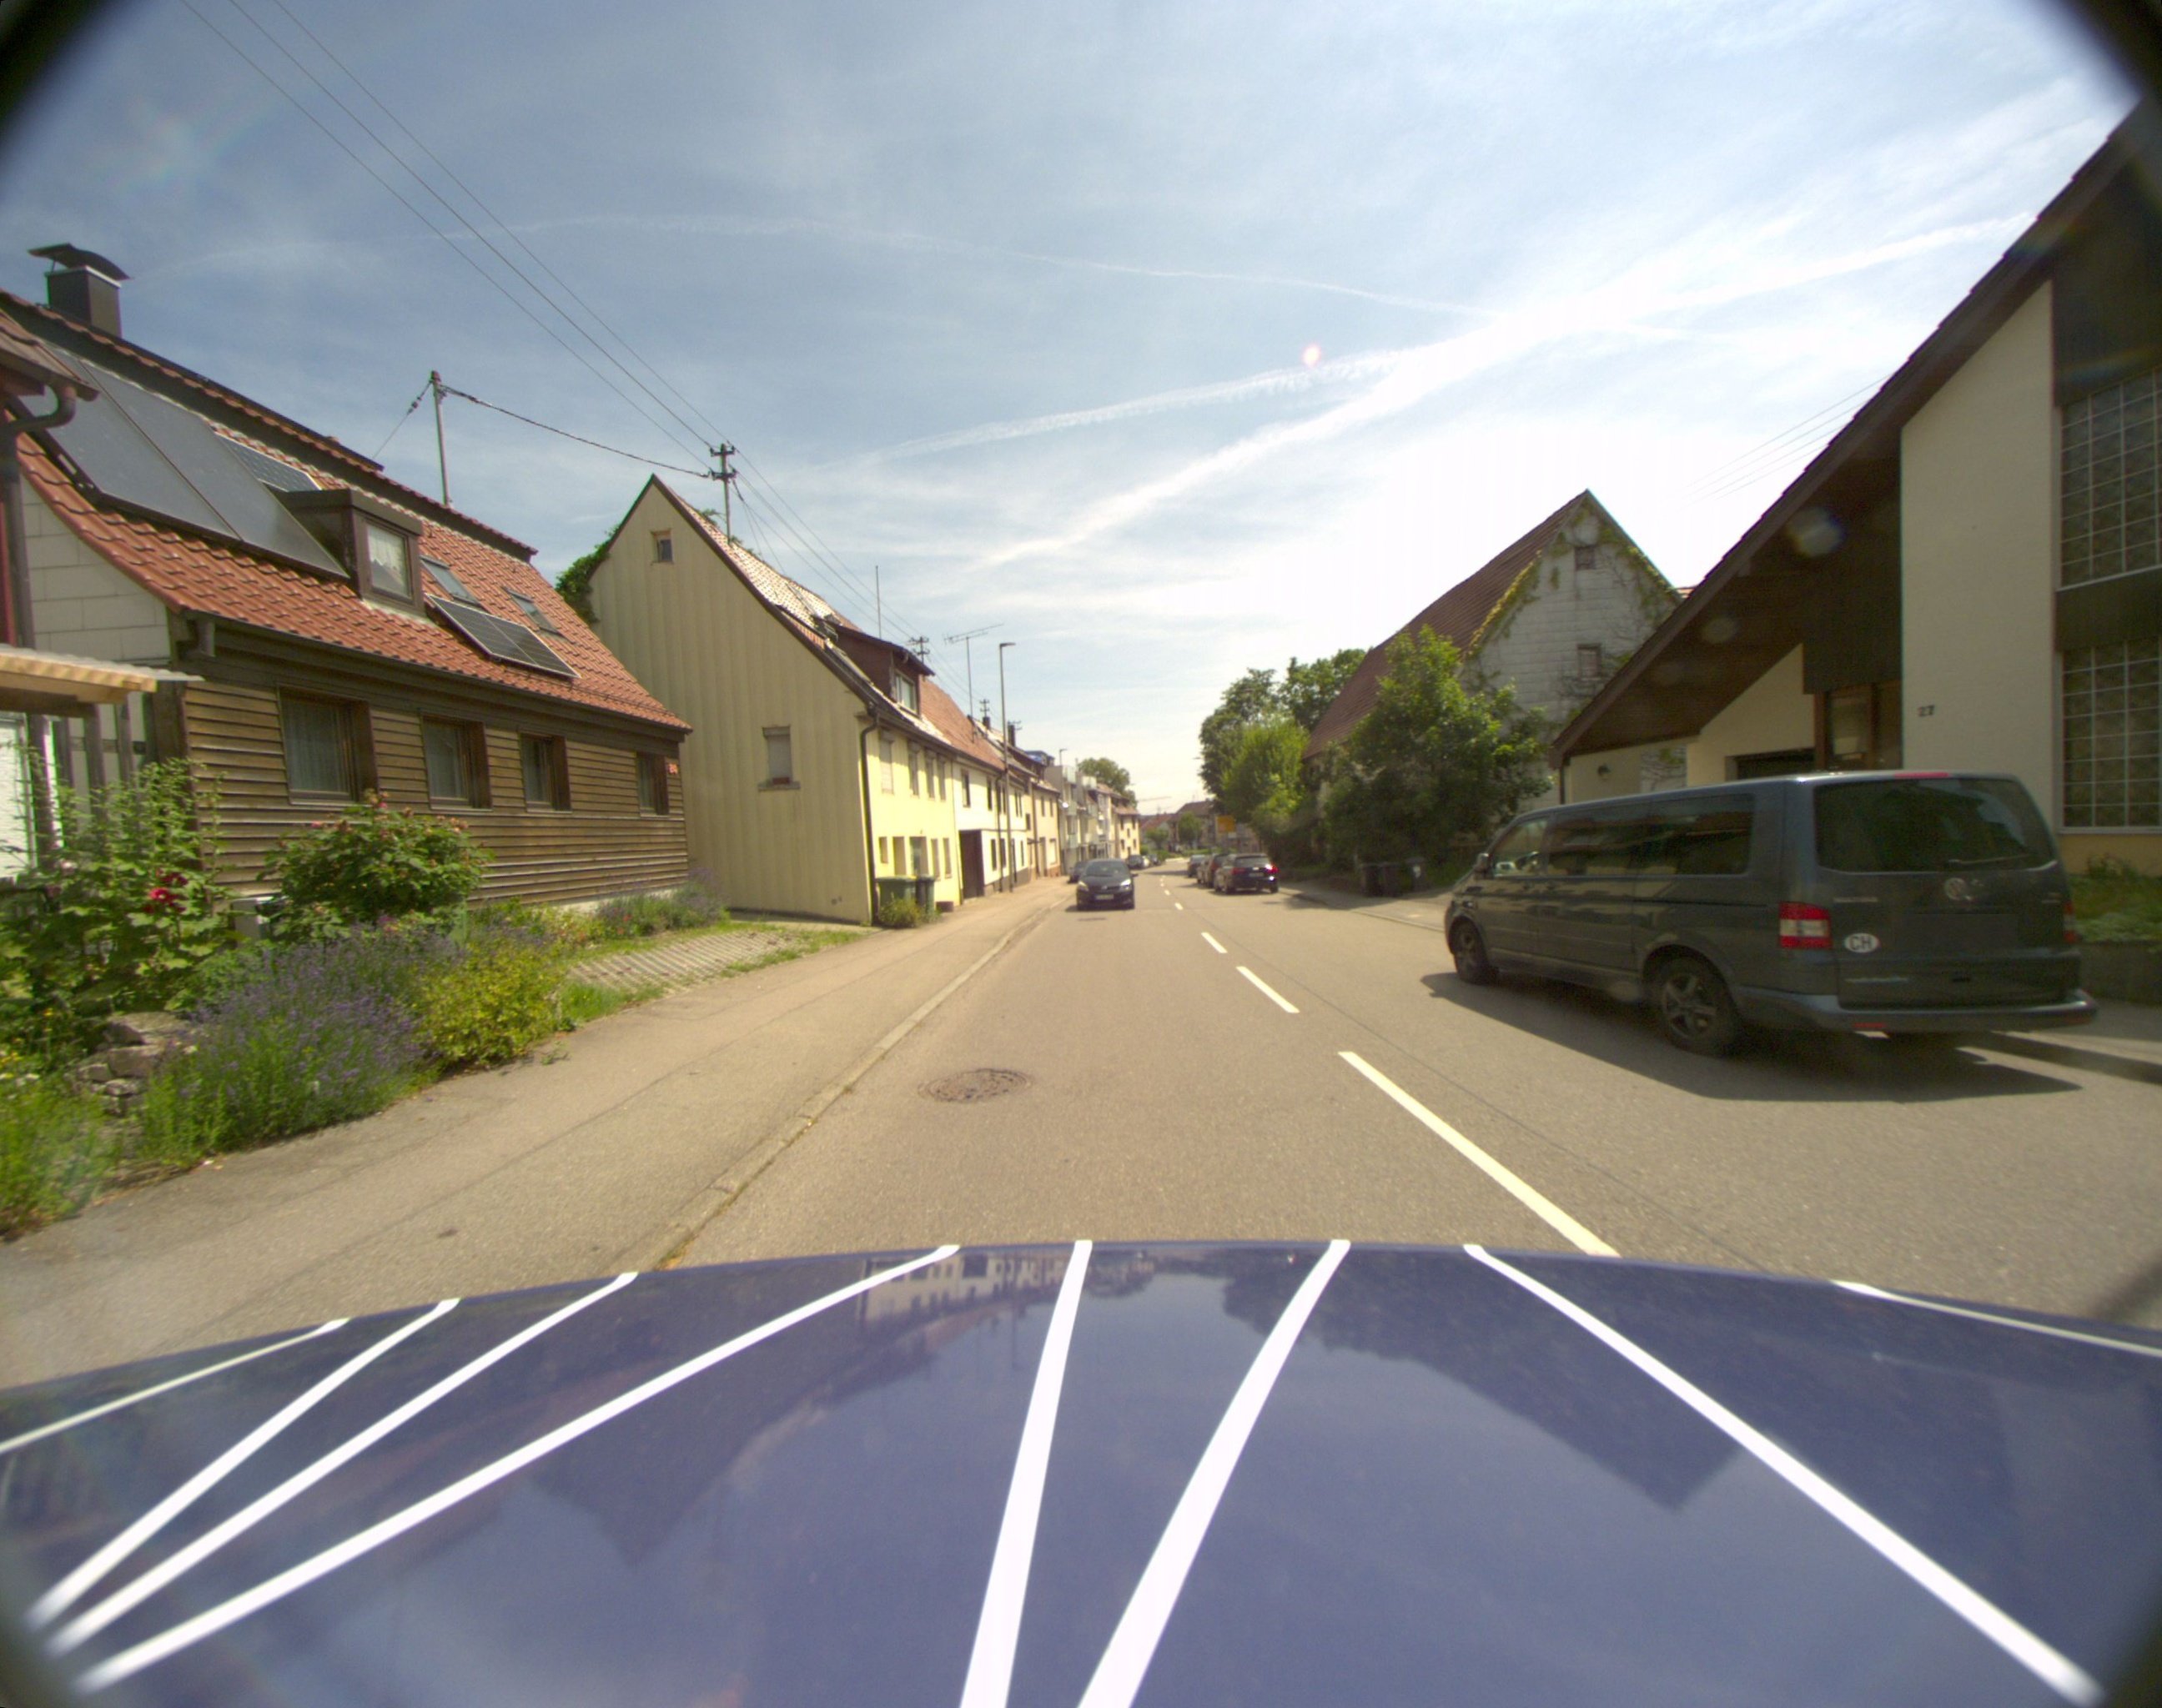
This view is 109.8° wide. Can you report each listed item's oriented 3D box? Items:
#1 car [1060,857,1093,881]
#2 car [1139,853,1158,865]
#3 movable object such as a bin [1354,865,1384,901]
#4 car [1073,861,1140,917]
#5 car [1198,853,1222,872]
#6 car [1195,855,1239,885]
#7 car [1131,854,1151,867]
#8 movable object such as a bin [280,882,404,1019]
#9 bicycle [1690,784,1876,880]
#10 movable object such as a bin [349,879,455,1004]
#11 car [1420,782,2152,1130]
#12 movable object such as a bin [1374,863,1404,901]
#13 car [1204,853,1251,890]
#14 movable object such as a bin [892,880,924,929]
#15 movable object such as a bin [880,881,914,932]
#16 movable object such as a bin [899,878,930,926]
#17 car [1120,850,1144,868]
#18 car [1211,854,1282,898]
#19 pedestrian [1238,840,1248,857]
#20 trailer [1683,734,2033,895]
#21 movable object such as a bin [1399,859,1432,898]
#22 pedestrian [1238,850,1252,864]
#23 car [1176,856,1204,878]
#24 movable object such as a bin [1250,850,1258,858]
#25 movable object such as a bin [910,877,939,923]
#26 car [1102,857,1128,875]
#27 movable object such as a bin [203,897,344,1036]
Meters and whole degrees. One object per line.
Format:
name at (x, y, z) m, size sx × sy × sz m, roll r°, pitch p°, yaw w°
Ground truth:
car at (-0.240, 0.890, 47.321) m, size 1.669 × 1.344 × 4.188 m, roll -3°, pitch 0°, yaw 4°
car at (8.565, 0.617, 96.684) m, size 1.791 × 1.412 × 4.362 m, roll -2°, pitch 0°, yaw 13°
movable object such as a bin at (7.941, 0.798, 20.996) m, size 0.502 × 0.897 × 0.585 m, roll -7°, pitch 1°, yaw -2°
car at (0.858, 0.973, 22.937) m, size 1.724 × 1.448 × 4.431 m, roll -1°, pitch 0°, yaw 5°
car at (11.086, 0.679, 65.220) m, size 1.775 × 1.518 × 4.225 m, roll -1°, pitch 0°, yaw 13°
car at (7.091, 0.794, 39.976) m, size 1.792 × 1.455 × 4.713 m, roll -2°, pitch 0°, yaw 4°
car at (7.168, 0.766, 90.216) m, size 1.792 × 1.447 × 4.720 m, roll -2°, pitch 0°, yaw 10°
movable object such as a bin at (-6.750, 0.862, 6.961) m, size 0.536 × 1.151 × 0.549 m, roll 4°, pitch 1°, yaw -2°
bicycle at (13.488, -0.419, 14.642) m, size 2.755 × 1.373 × 0.761 m, roll -9°, pitch 1°, yaw -1°
movable object such as a bin at (-6.740, 0.853, 7.564) m, size 0.536 × 1.151 × 0.510 m, roll 4°, pitch 1°, yaw -1°
car at (5.120, 0.589, 6.806) m, size 1.896 × 1.926 × 4.986 m, roll -1°, pitch 0°, yaw 0°
movable object such as a bin at (8.240, 0.744, 20.332) m, size 0.474 × 0.933 × 0.527 m, roll -8°, pitch 1°, yaw 0°
car at (6.512, 0.755, 34.219) m, size 1.758 × 1.512 × 4.303 m, roll -2°, pitch 0°, yaw 7°
movable object such as a bin at (-3.726, 1.073, 16.376) m, size 0.548 × 1.027 × 0.551 m, roll 0°, pitch 0°, yaw 3°
movable object such as a bin at (-3.801, 1.078, 15.706) m, size 0.548 × 1.027 × 0.551 m, roll 0°, pitch 0°, yaw 3°
movable object such as a bin at (-3.702, 1.070, 16.966) m, size 0.548 × 1.027 × 0.551 m, roll 0°, pitch 0°, yaw 3°
car at (5.387, 0.491, 80.311) m, size 1.957 × 1.706 × 4.720 m, roll -2°, pitch 0°, yaw 10°
car at (6.102, 0.773, 28.505) m, size 1.823 × 1.464 × 4.777 m, roll -2°, pitch 0°, yaw 3°
pedestrian at (16.058, -0.520, 75.362) m, size 0.732 × 1.607 × 0.629 m, roll -4°, pitch 1°, yaw -8°
trailer at (13.256, -0.639, 13.173) m, size 3.840 × 2.002 × 1.999 m, roll -9°, pitch 1°, yaw -1°
movable object such as a bin at (8.979, 0.653, 20.412) m, size 0.502 × 0.943 × 0.524 m, roll -8°, pitch 1°, yaw -2°
pedestrian at (15.939, 0.318, 73.941) m, size 1.238 × 1.262 × 0.647 m, roll -4°, pitch 1°, yaw 16°
car at (7.698, 0.909, 53.633) m, size 1.808 × 1.415 × 4.931 m, roll -2°, pitch -1°, yaw 9°
movable object such as a bin at (21.990, -0.005, 96.572) m, size 0.801 × 0.994 × 0.805 m, roll -5°, pitch 1°, yaw 14°
movable object such as a bin at (-3.632, 1.068, 17.648) m, size 0.548 × 1.027 × 0.551 m, roll 0°, pitch 0°, yaw 3°
car at (3.132, 1.065, 68.834) m, size 1.800 × 1.416 × 4.292 m, roll -2°, pitch 1°, yaw 10°
movable object such as a bin at (-6.743, 0.917, 6.367) m, size 0.536 × 1.051 × 0.549 m, roll 4°, pitch 1°, yaw -2°
